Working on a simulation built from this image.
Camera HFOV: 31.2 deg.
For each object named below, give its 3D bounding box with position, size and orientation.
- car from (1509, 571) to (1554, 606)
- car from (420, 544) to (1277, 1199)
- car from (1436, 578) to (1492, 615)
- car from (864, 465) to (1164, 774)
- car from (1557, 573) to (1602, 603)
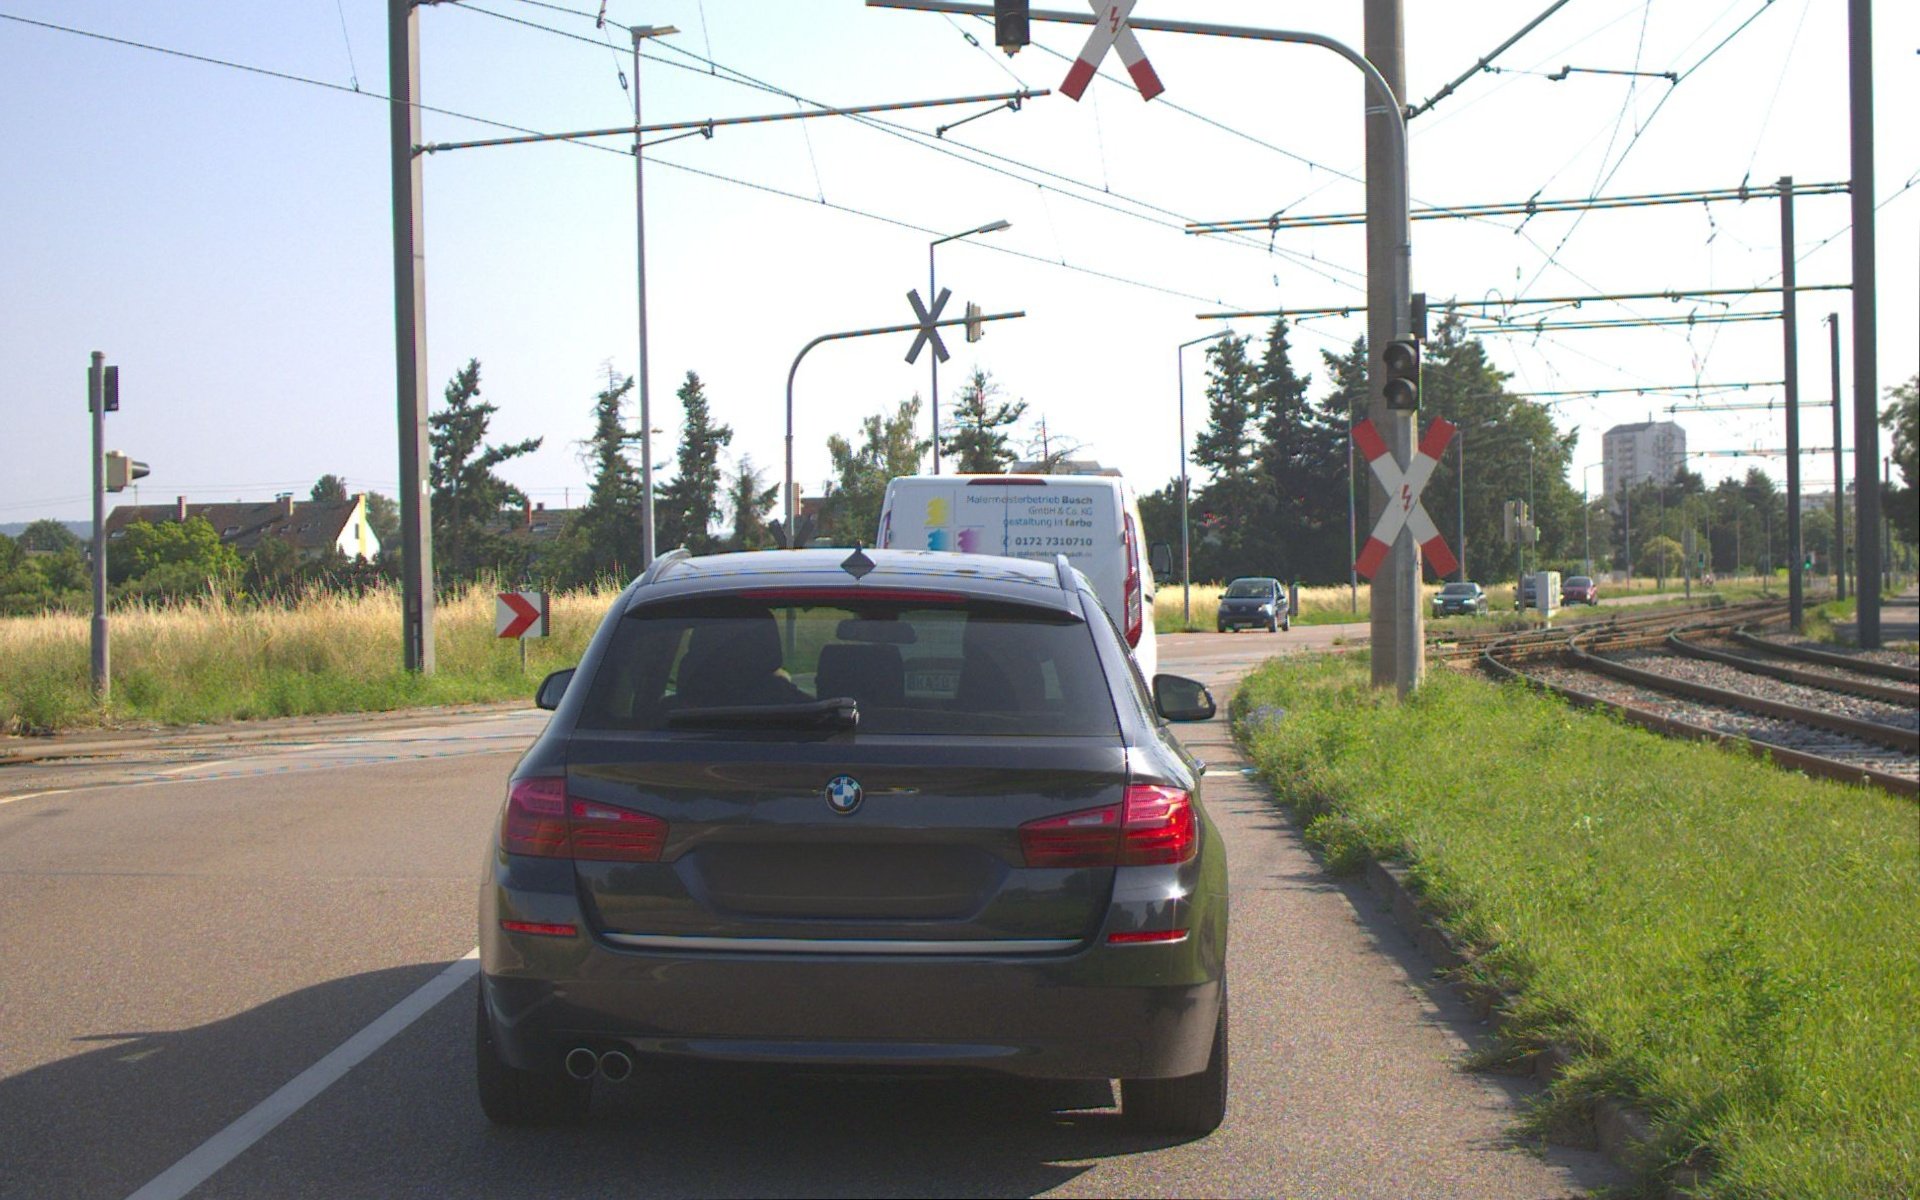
[{"bbox_3d":[27.596,-0.561,166.010,1.707,1.659,4.586,0,1,15],"label":"car"},{"bbox_3d":[-0.282,0.569,9.879,1.869,1.447,4.744,0,1,-1],"label":"car"},{"bbox_3d":[20.254,-0.164,138.063,1.694,1.435,4.280,1,1,15],"label":"car"},{"bbox_3d":[0.497,0.093,24.668,1.858,1.981,5.107,0,1,4],"label":"car"},{"bbox_3d":[32.822,-0.628,182.129,1.714,1.544,3.924,0,1,19],"label":"car"}]
